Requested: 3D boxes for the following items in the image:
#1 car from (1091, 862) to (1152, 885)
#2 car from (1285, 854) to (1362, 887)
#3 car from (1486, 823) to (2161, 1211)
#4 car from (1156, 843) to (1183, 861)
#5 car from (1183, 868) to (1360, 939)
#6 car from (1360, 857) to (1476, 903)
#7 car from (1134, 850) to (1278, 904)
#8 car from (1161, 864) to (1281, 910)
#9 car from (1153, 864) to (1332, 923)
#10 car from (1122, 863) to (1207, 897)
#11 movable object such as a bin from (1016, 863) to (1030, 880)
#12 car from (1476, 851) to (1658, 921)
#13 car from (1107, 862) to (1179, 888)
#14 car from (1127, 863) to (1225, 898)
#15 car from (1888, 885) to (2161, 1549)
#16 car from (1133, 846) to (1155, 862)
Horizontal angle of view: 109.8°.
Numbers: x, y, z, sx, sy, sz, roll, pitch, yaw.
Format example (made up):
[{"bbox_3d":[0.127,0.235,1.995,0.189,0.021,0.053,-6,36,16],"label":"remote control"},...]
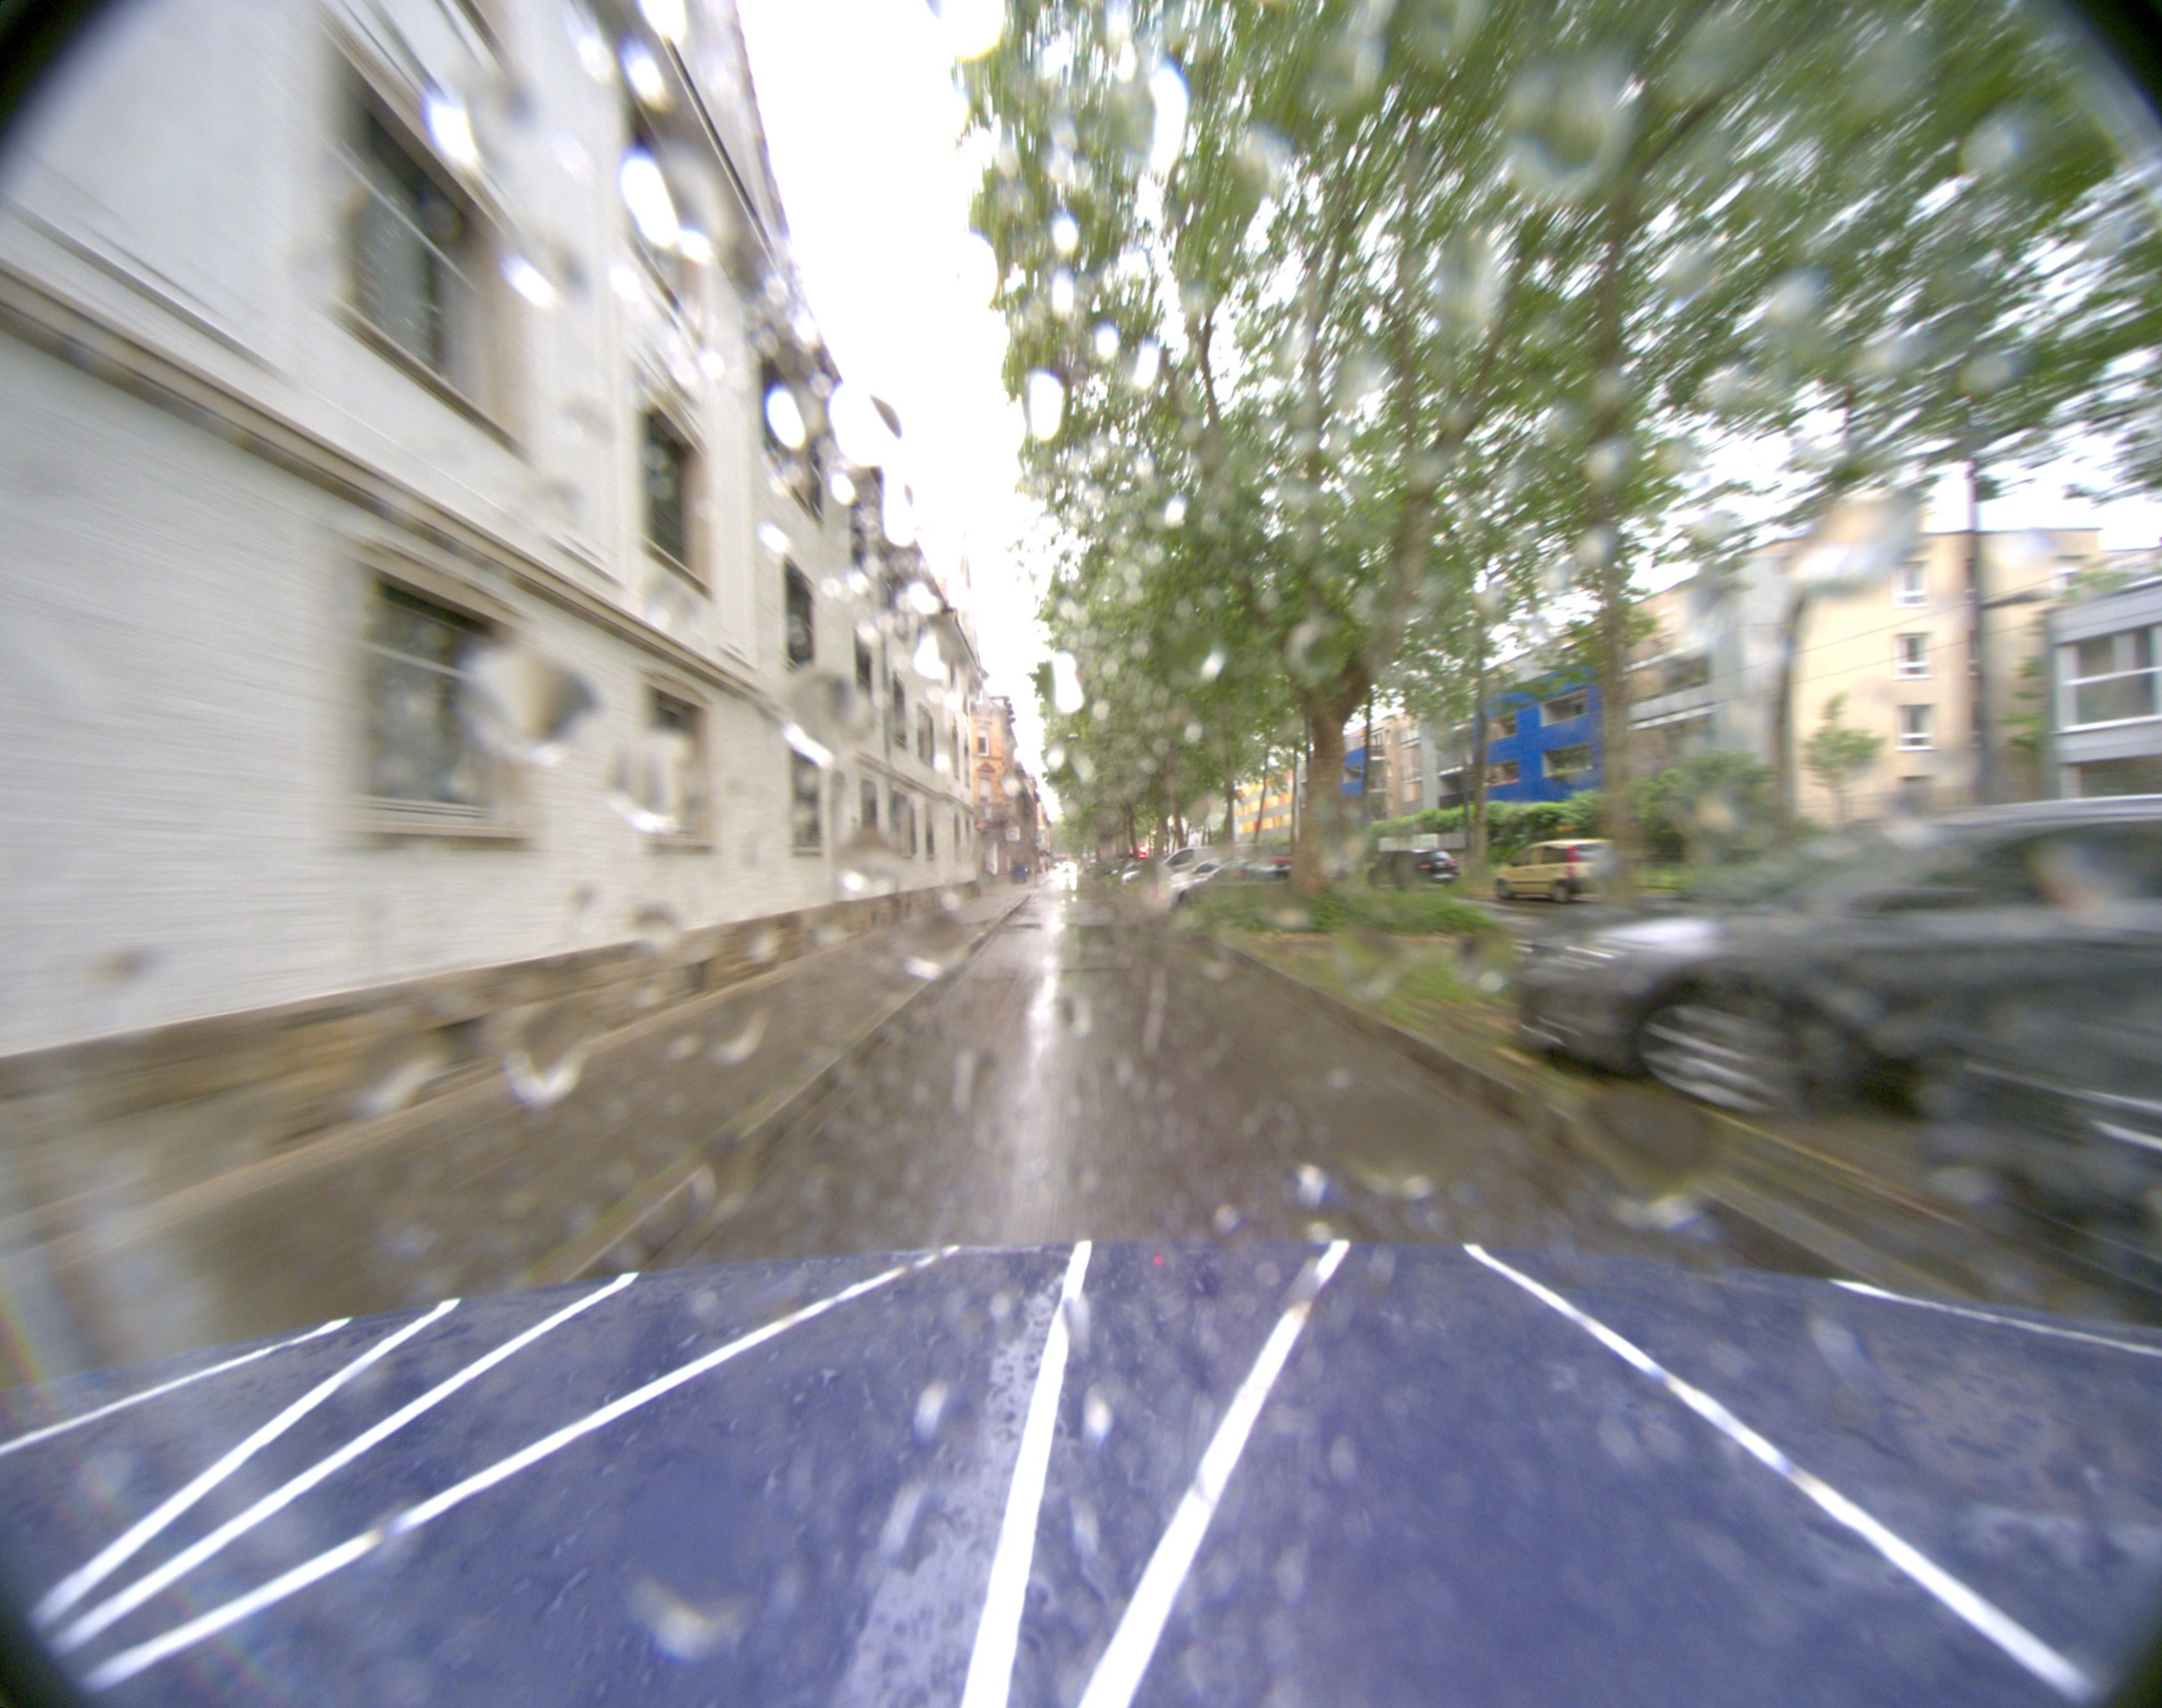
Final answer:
[{"bbox_3d":[3.077,1.508,57.979,4.221,1.470,1.746,-4,-1,26],"label":"car"},{"bbox_3d":[11.707,0.766,36.979,1.999,1.412,3.990,-4,0,-7],"label":"car"},{"bbox_3d":[4.811,0.689,4.069,4.463,1.587,1.926,-3,0,23],"label":"car"},{"bbox_3d":[10.950,-0.224,94.365,2.060,1.985,5.432,-5,0,-5],"label":"car"},{"bbox_3d":[4.631,1.165,18.557,3.807,1.512,1.725,-2,0,30],"label":"car"},{"bbox_3d":[11.816,0.877,27.000,1.999,1.411,4.271,-2,-1,-4],"label":"car"},{"bbox_3d":[4.888,0.913,29.925,5.118,1.966,2.107,-2,0,30],"label":"car"},{"bbox_3d":[4.975,1.164,27.069,3.776,1.473,1.725,-2,0,30],"label":"car"},{"bbox_3d":[4.509,1.081,21.383,4.549,1.473,1.778,-2,0,29],"label":"car"},{"bbox_3d":[4.403,1.364,39.976,4.060,1.490,1.750,-4,-1,23],"label":"car"},{"bbox_3d":[-4.404,1.335,57.932,1.024,1.294,1.367,0,-1,-1],"label":"movable object such as a bin"},{"bbox_3d":[12.116,0.716,19.317,1.999,1.499,3.999,-3,0,-1],"label":"car"},{"bbox_3d":[4.109,1.376,50.780,4.406,1.636,1.875,-1,1,30],"label":"car"},{"bbox_3d":[4.595,1.274,36.728,4.306,1.428,1.750,-4,-1,26],"label":"car"},{"bbox_3d":[4.881,0.849,1.224,4.548,1.512,1.927,-2,0,31],"label":"car"},{"bbox_3d":[8.196,0.020,99.022,2.043,1.988,5.158,-3,0,-4],"label":"car"}]
